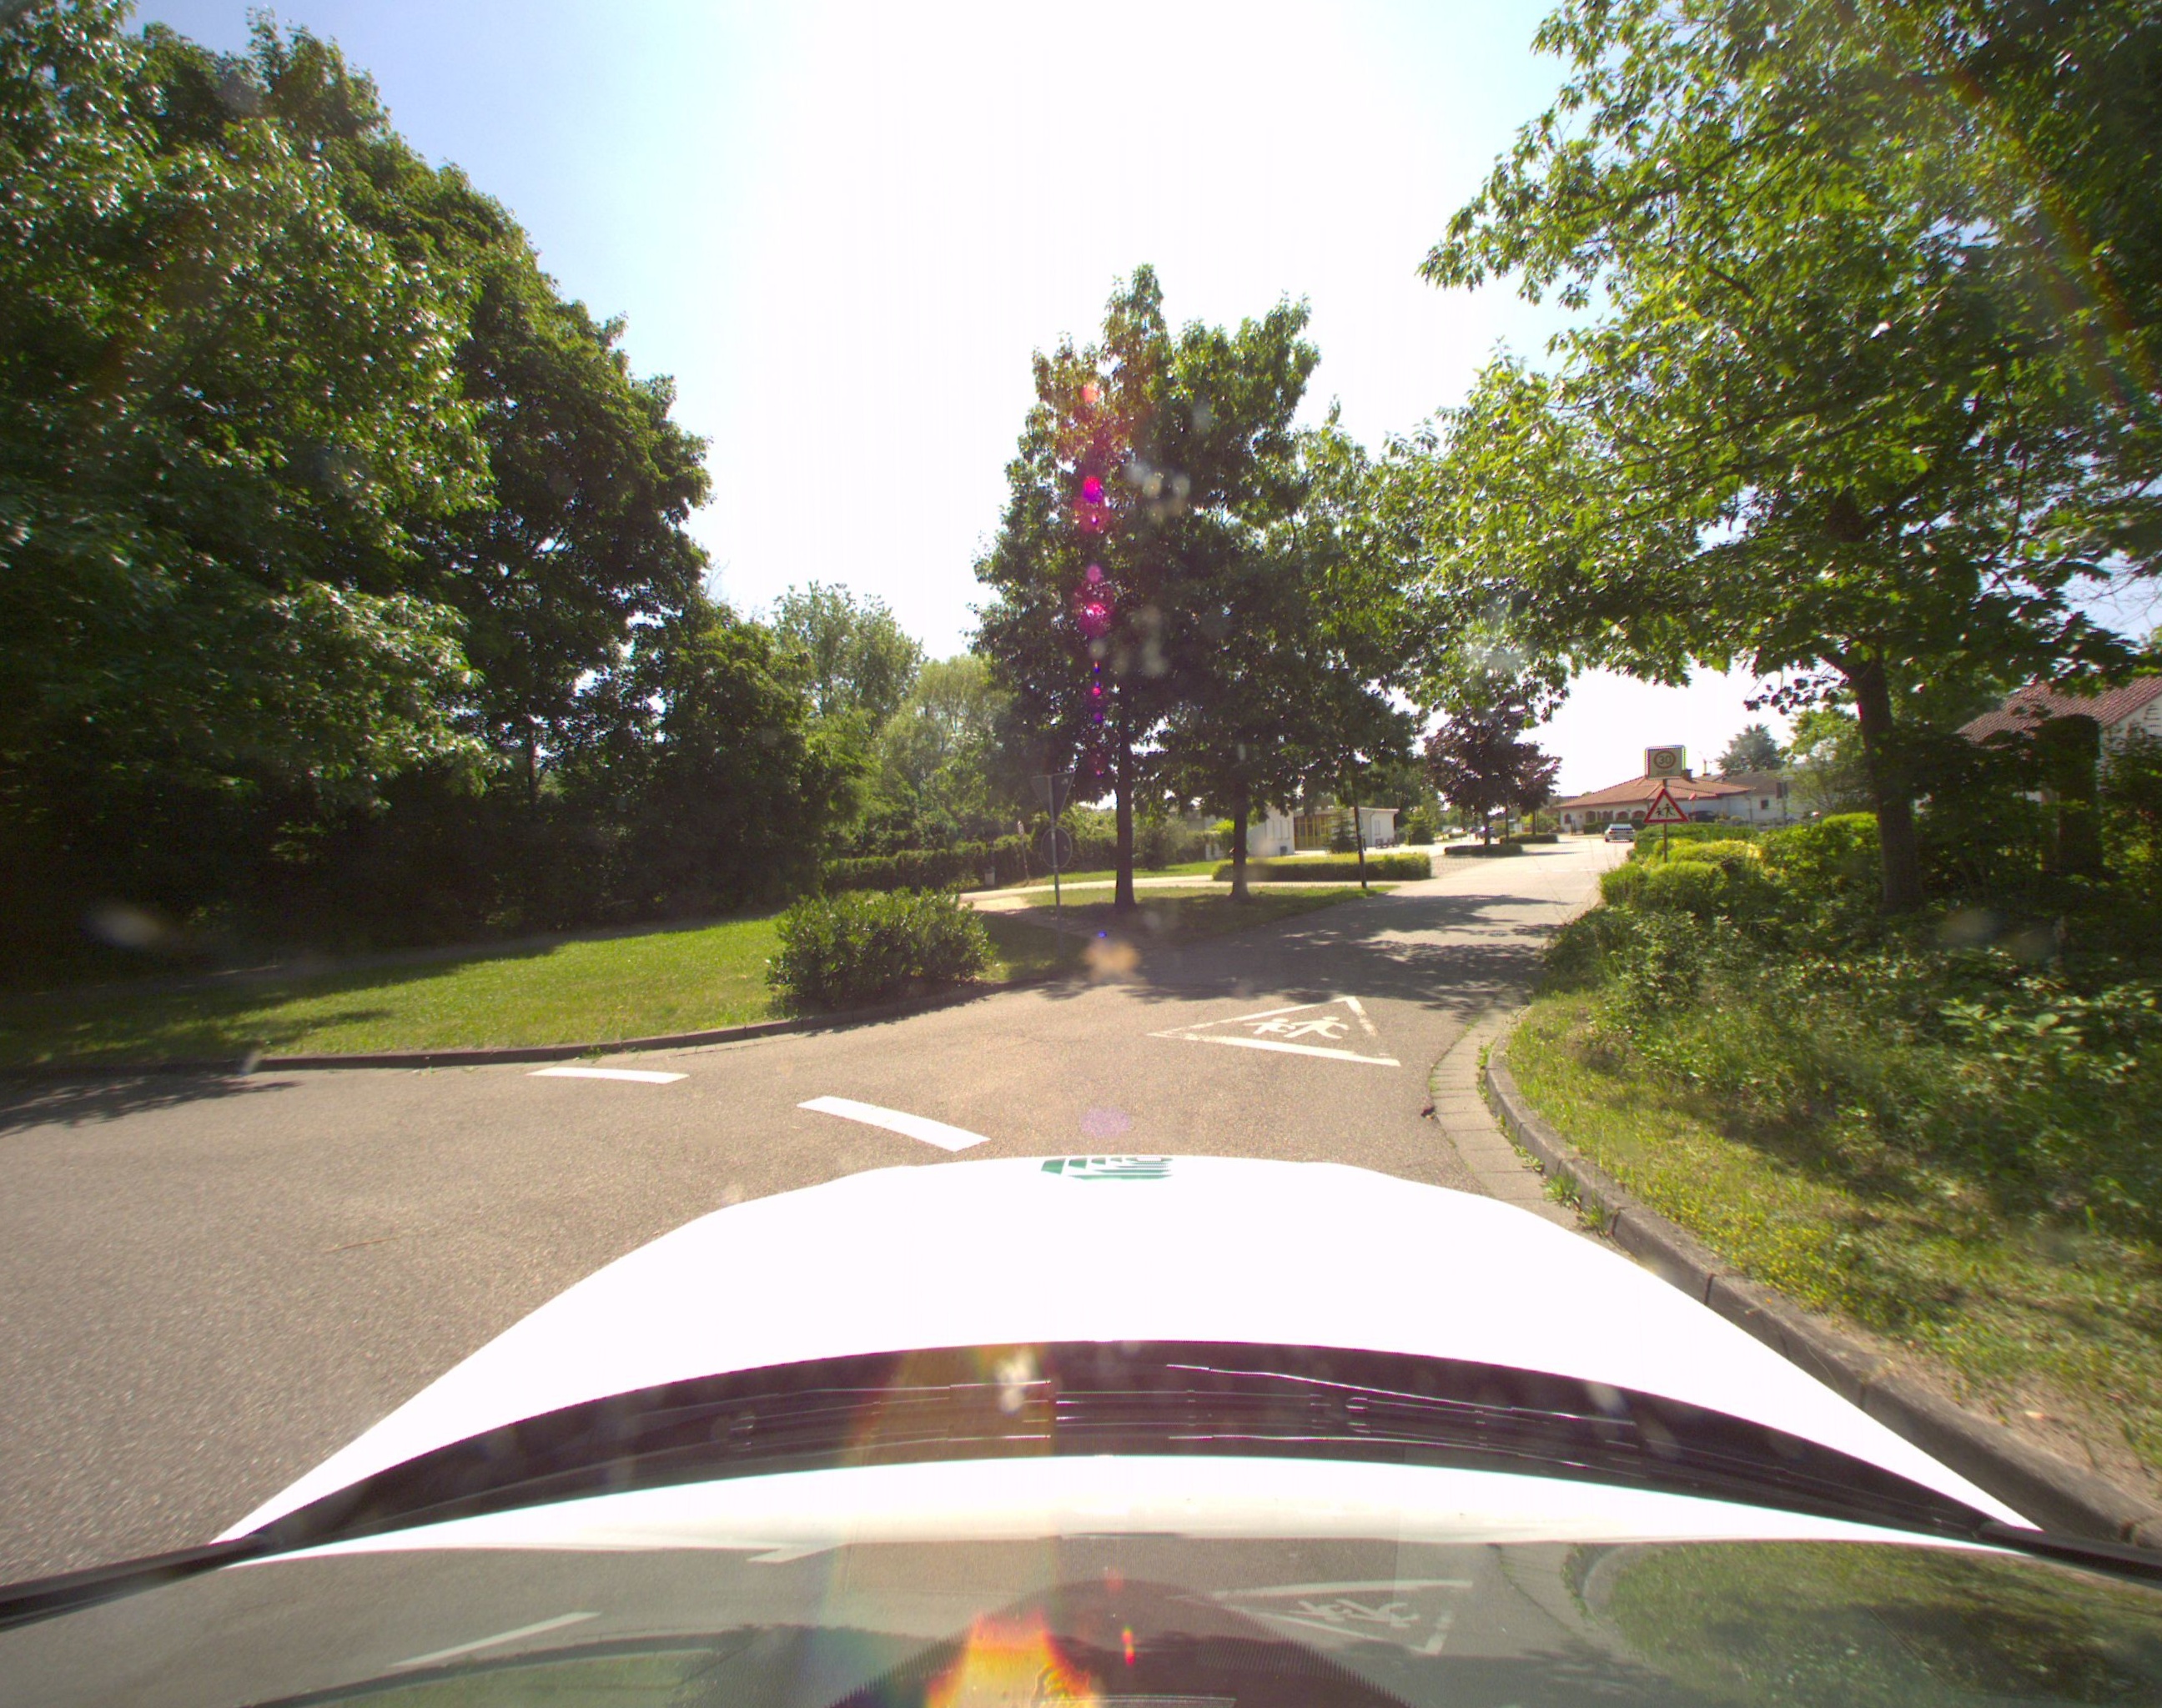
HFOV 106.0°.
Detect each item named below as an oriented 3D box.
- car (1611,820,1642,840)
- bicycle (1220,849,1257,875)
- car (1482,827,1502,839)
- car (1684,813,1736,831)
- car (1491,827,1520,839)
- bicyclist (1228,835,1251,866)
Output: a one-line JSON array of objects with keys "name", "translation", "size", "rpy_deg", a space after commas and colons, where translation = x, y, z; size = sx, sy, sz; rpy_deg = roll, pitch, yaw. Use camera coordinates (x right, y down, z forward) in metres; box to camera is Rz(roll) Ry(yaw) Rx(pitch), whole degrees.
[{"name": "car", "translation": [37.909, -1.684, 56.614], "size": [1.599, 1.288, 3.580], "rpy_deg": [-2, 1, 31]}, {"name": "bicycle", "translation": [6.227, 0.302, 32.166], "size": [1.629, 0.929, 0.591], "rpy_deg": [-3, 0, -43]}, {"name": "car", "translation": [47.093, -2.378, 93.388], "size": [1.600, 1.288, 3.576], "rpy_deg": [-2, 1, 21]}, {"name": "car", "translation": [61.043, -3.138, 79.058], "size": [3.821, 1.542, 1.849], "rpy_deg": [-3, 0, -8]}, {"name": "car", "translation": [49.861, -2.425, 95.793], "size": [1.980, 1.288, 4.013], "rpy_deg": [-2, 1, 12]}, {"name": "bicyclist", "translation": [6.272, -0.142, 32.216], "size": [0.652, 1.164, 0.591], "rpy_deg": [-3, 0, -43]}]
